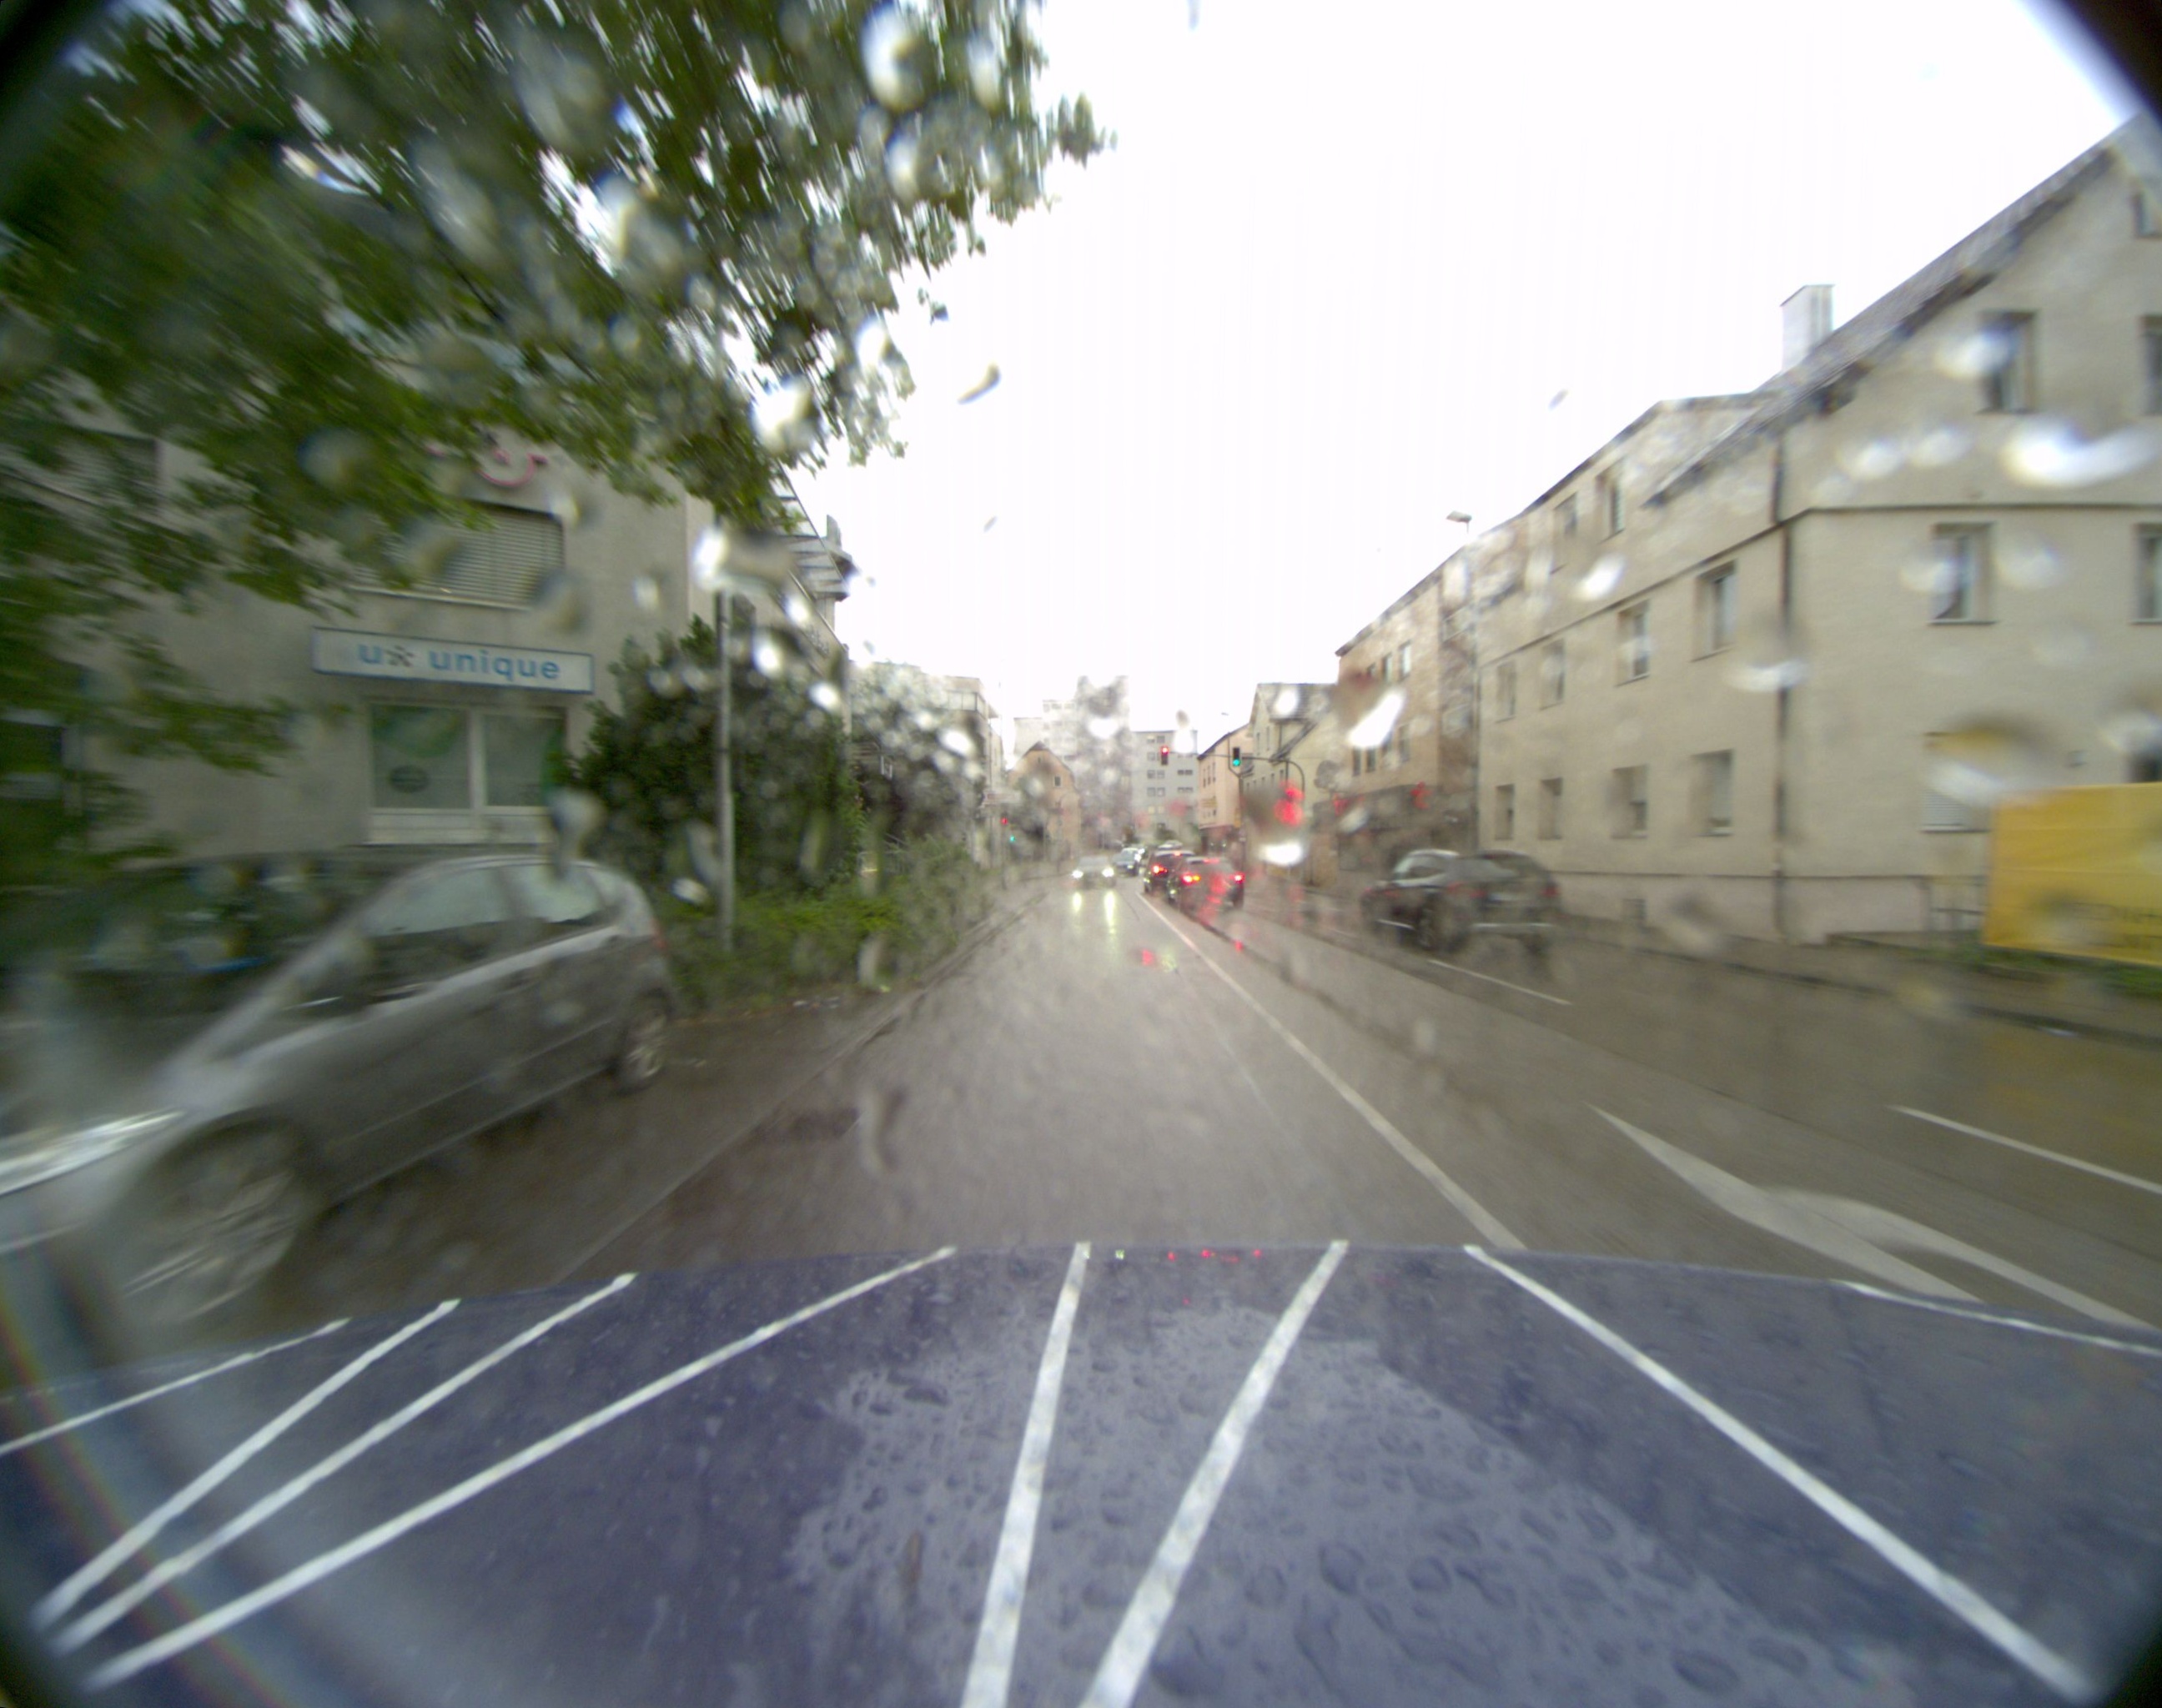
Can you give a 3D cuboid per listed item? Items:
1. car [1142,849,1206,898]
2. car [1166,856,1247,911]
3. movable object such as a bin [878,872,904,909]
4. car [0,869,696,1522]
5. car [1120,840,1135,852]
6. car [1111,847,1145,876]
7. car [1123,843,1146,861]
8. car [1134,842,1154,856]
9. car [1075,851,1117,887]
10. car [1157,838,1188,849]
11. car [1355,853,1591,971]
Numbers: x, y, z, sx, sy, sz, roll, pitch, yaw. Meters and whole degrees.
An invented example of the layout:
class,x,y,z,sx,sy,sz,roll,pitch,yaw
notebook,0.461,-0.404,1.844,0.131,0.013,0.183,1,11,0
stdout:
class,x,y,z,sx,sy,sz,roll,pitch,yaw
car,3.347,0.659,27.989,1.820,1.635,4.275,-1,0,0
car,3.470,0.769,21.627,1.711,1.375,3.669,-1,0,0
movable object such as a bin,-4.794,0.928,19.203,0.482,0.904,0.492,-1,-3,12
car,-3.626,0.904,3.562,1.714,1.563,3.914,1,0,-1
car,5.954,-0.985,97.886,1.686,1.452,4.000,-1,0,1
car,2.967,0.445,47.491,1.998,1.652,4.001,-1,0,4
car,4.351,-0.170,61.609,1.686,1.413,4.001,-1,0,6
car,6.888,-0.502,82.387,1.685,1.452,4.003,0,0,12
car,0.684,0.642,35.455,1.820,1.562,4.275,-1,0,1
car,11.717,-1.338,96.813,4.008,1.452,1.683,-1,1,-43
car,6.073,0.777,12.424,1.820,1.562,4.276,1,0,3
